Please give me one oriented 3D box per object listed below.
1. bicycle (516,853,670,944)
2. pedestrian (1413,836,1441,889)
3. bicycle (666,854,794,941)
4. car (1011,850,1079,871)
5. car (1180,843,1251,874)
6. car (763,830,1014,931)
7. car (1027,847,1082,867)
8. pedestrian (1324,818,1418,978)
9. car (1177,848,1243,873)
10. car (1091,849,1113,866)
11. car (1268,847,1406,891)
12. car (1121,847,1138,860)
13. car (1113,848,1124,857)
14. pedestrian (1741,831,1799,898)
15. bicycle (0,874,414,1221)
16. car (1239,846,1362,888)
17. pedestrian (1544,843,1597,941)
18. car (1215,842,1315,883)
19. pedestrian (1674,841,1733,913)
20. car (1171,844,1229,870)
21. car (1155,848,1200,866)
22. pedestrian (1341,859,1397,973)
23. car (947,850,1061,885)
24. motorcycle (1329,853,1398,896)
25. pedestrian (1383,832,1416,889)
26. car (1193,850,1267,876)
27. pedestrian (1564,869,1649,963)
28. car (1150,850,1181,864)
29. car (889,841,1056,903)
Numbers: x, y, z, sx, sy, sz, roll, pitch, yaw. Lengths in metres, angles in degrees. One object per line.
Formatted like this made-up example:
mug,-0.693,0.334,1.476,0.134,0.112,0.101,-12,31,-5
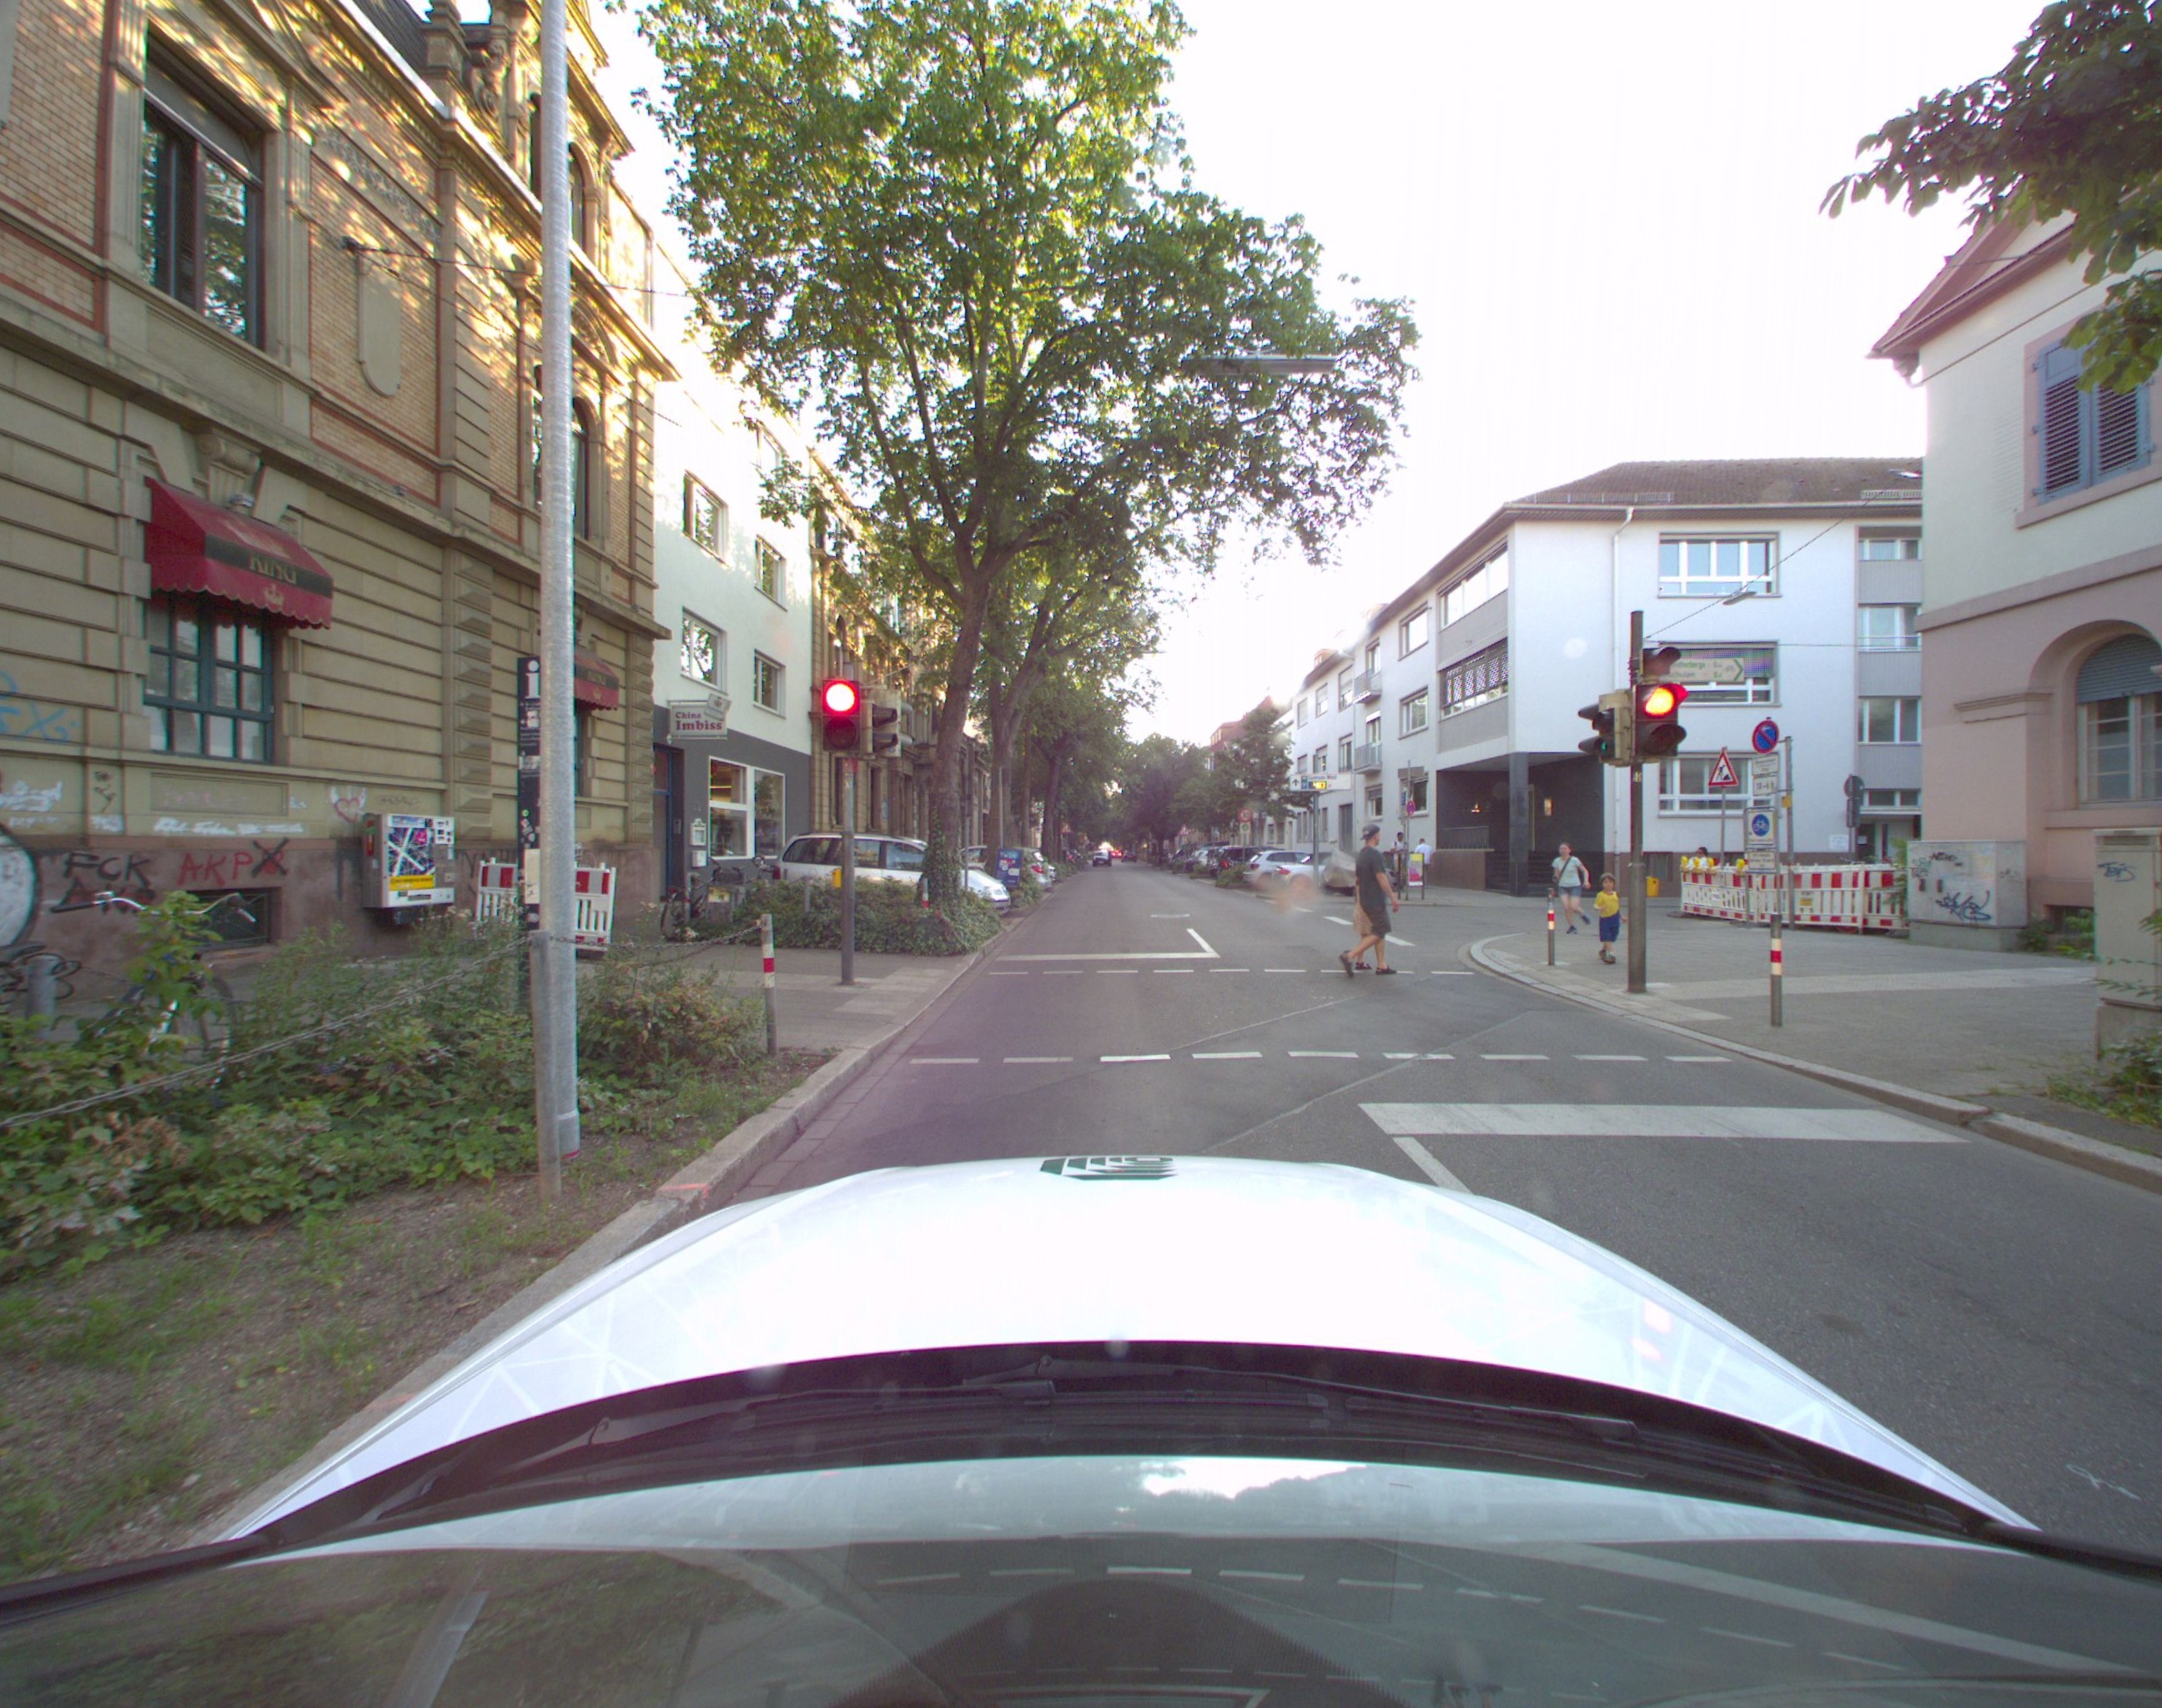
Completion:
bicycle,-7.225,0.597,12.259,0.634,1.201,2.566,-1,0,3
pedestrian,11.659,0.281,27.478,0.700,1.752,0.700,0,0,5
bicycle,-5.379,0.613,12.731,0.731,1.186,2.636,1,0,3
car,-2.448,0.429,56.528,4.530,1.410,1.834,-1,0,2
car,8.110,0.270,49.345,4.000,1.815,1.707,-1,0,1
car,-3.675,0.488,16.171,4.535,1.835,1.832,-1,0,-2
car,-2.191,0.263,68.736,4.530,1.691,1.834,0,0,2
pedestrian,3.404,0.492,9.631,0.884,1.815,0.795,0,0,6
car,8.254,0.400,52.201,4.000,1.530,1.707,0,0,1
car,2.056,0.327,77.927,1.895,1.577,3.996,1,0,4
car,8.315,0.487,26.704,3.999,1.342,1.708,-1,0,2
car,5.837,-0.079,97.979,1.819,1.561,4.028,1,0,1
car,6.994,-0.299,151.489,1.917,1.660,4.001,0,0,1
pedestrian,18.385,0.260,21.740,0.765,1.752,0.934,0,0,2
bicycle,-4.052,0.709,3.535,0.508,1.153,2.102,1,1,2
car,7.842,0.447,29.324,4.000,1.442,1.707,-1,0,1
pedestrian,8.125,0.595,13.507,0.692,1.557,0.986,0,1,33
car,8.033,0.353,35.782,4.000,1.690,1.707,-1,0,1
pedestrian,13.459,0.490,17.608,0.805,1.501,0.768,-1,0,-33
car,8.643,0.217,59.480,4.000,1.830,1.707,0,0,1
car,8.798,0.269,74.479,4.000,1.601,1.707,0,0,1
pedestrian,3.514,0.741,9.966,0.536,1.335,0.507,0,0,6
car,-3.159,0.562,34.014,4.530,1.372,1.834,-1,0,2
motorcycle,8.137,0.586,23.529,1.788,1.199,0.615,-1,0,10
pedestrian,10.460,0.196,26.782,0.764,1.841,0.944,0,0,2
car,8.552,0.496,47.031,4.000,1.409,1.707,-1,0,1
pedestrian,6.640,0.758,10.299,0.839,1.121,0.562,0,0,-28
car,11.138,0.351,107.146,4.000,1.830,1.707,0,0,1
car,-3.083,0.512,23.716,4.530,1.689,1.834,-1,0,2
